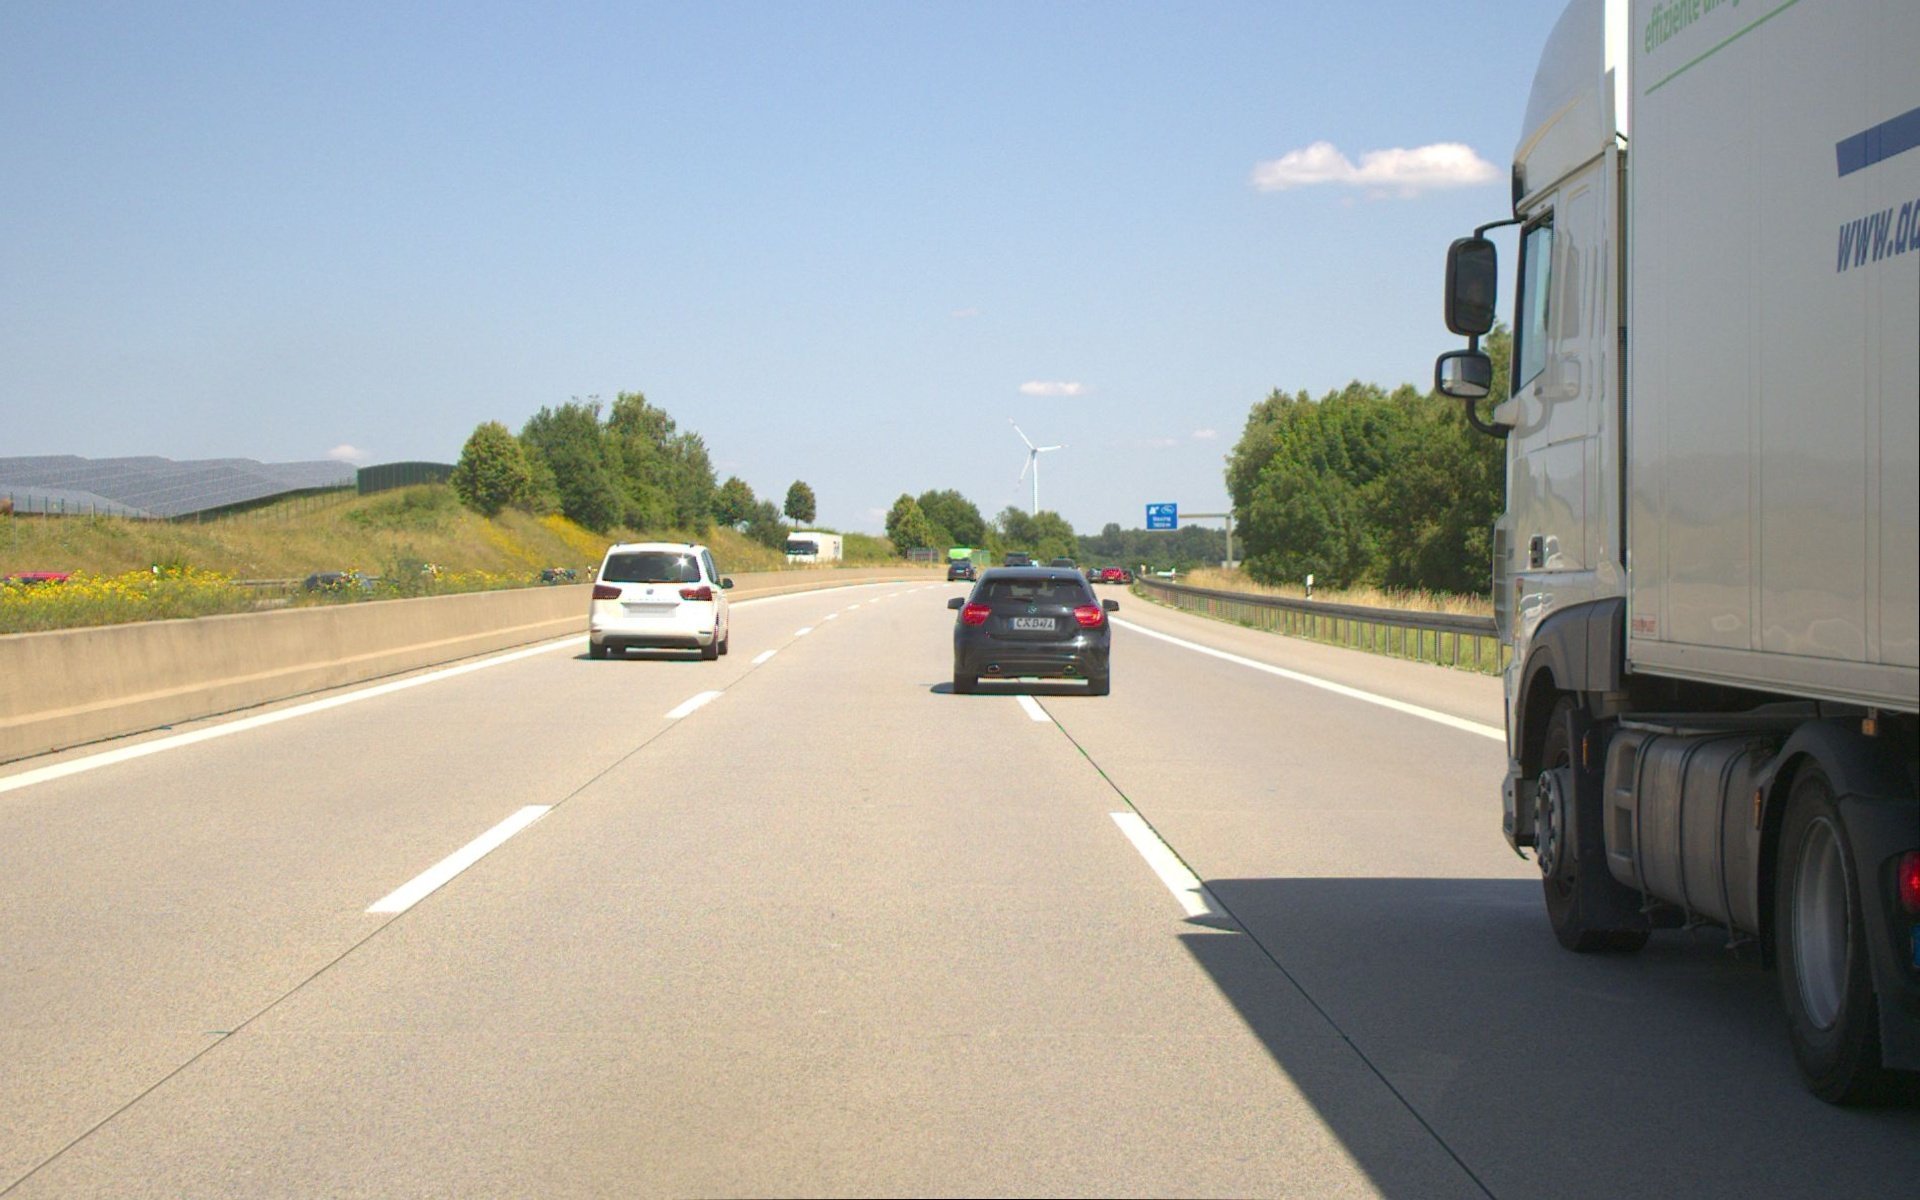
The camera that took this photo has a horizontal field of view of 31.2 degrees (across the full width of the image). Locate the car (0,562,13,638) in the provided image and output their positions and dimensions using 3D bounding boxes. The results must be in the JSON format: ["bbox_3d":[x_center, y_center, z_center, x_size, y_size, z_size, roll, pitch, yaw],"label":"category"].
[{"bbox_3d":[-20.423,-0.012,69.098,1.649,1.546,3.968,2,1,0],"label":"car"}]

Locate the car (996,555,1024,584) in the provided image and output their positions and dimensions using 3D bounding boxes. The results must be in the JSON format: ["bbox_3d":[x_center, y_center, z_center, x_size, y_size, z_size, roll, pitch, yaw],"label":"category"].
[{"bbox_3d":[3.367,-2.068,230.335,1.827,1.931,3.809,0,1,1],"label":"car"}]

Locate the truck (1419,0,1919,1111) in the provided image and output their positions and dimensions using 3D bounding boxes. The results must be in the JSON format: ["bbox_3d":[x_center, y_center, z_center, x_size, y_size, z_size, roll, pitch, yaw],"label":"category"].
[{"bbox_3d":[3.514,-0.649,12.424,2.812,4.074,5.799,1,1,-1],"label":"truck"}]

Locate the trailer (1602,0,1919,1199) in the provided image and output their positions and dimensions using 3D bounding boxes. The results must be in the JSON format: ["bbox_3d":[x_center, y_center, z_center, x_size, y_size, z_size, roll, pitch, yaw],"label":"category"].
[{"bbox_3d":[3.635,-0.545,4.757,2.852,4.029,12.714,1,1,-1],"label":"trailer"}]

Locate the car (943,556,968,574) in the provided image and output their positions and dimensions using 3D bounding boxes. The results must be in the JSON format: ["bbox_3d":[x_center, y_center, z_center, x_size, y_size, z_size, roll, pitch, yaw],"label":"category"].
[{"bbox_3d":[-0.293,-2.444,240.057,1.655,1.192,3.960,3,1,-1],"label":"car"}]

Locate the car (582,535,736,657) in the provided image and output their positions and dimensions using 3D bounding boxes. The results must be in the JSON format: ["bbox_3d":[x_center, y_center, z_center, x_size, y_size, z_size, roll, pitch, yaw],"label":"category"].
[{"bbox_3d":[-4.467,-0.083,51.866,1.845,1.702,6.036,1,0,-1],"label":"car"}]

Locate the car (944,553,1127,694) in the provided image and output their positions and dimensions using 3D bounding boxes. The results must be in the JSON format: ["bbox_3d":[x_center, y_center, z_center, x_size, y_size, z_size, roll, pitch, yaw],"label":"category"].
[{"bbox_3d":[0.823,0.233,39.891,1.910,1.487,4.192,1,1,-1],"label":"car"}]

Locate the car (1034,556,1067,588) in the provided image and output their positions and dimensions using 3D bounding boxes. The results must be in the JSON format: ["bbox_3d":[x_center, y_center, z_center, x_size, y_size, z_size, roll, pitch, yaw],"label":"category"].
[{"bbox_3d":[5.551,-1.718,210.366,1.827,1.900,4.000,1,1,3],"label":"car"}]
